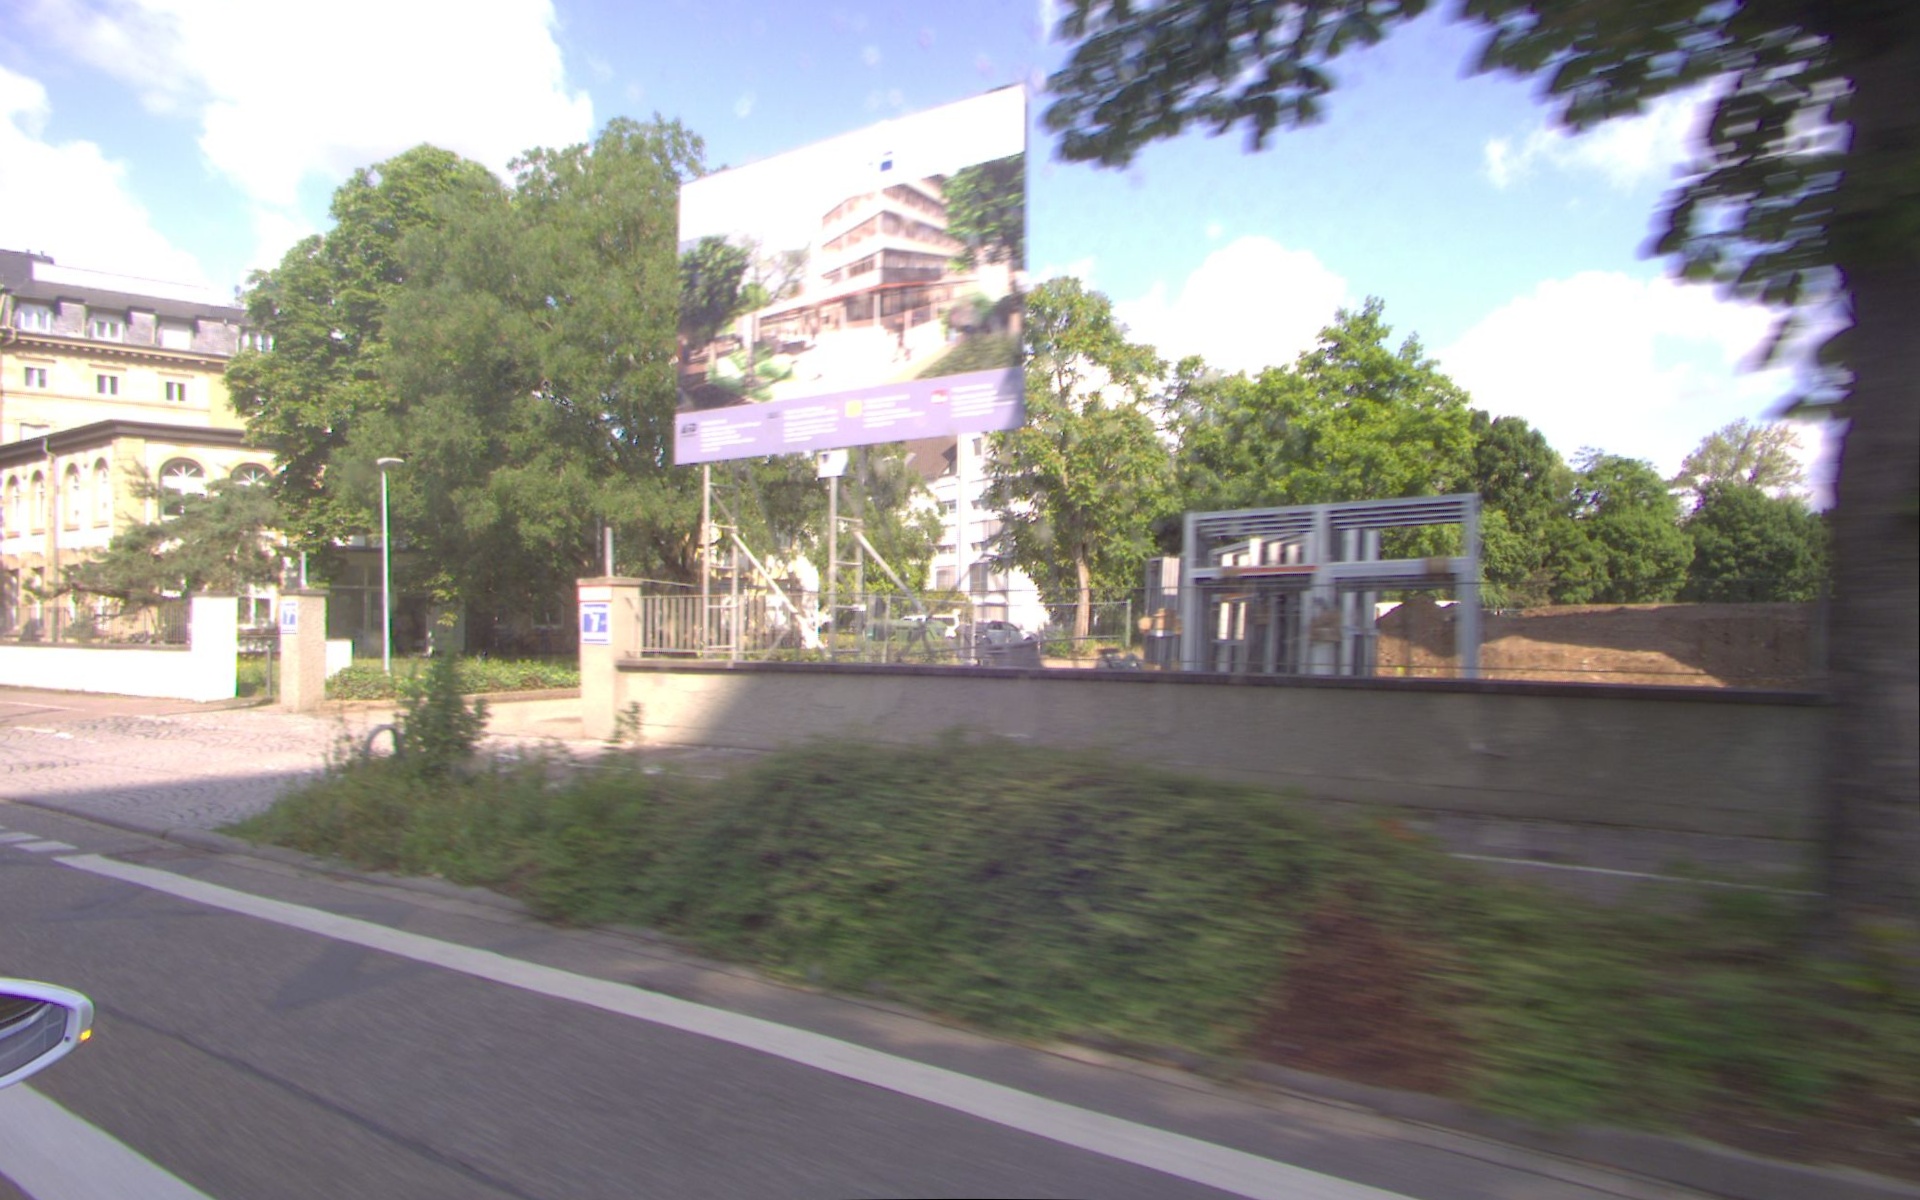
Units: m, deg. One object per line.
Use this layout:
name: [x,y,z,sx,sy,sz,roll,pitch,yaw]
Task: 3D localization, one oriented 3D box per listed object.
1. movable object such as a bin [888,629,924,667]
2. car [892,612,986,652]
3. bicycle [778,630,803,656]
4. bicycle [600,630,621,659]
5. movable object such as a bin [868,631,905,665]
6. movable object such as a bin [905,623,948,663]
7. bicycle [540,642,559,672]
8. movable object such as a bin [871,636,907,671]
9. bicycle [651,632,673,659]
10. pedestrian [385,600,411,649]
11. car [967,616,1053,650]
movable object such as a bin: [-2.114,1.857,39.323,0.870,1.470,1.225,0,-1,-38]
car: [-1.175,1.772,56.318,4.884,1.989,1.991,-2,-3,-31]
bicycle: [-7.506,1.895,44.315,0.413,1.070,2.058,-4,1,-28]
bicycle: [-13.817,1.745,39.604,0.413,1.070,2.058,-4,0,-28]
movable object such as a bin: [-2.996,1.931,40.735,0.935,1.366,1.371,1,-1,-38]
movable object such as a bin: [-1.272,1.633,38.342,1.090,1.470,1.333,1,-1,-38]
bicycle: [-15.876,2.191,38.710,0.413,1.070,2.058,-4,0,-28]
movable object such as a bin: [-2.870,2.143,40.622,0.935,1.366,1.224,1,-1,-38]
bicycle: [-12.199,1.852,40.991,0.413,1.070,2.058,-4,0,-28]
pedestrian: [-19.967,0.875,35.551,0.762,1.699,0.804,0,-1,-33]
car: [2.459,1.582,48.842,3.862,1.438,1.749,-2,-1,-33]
